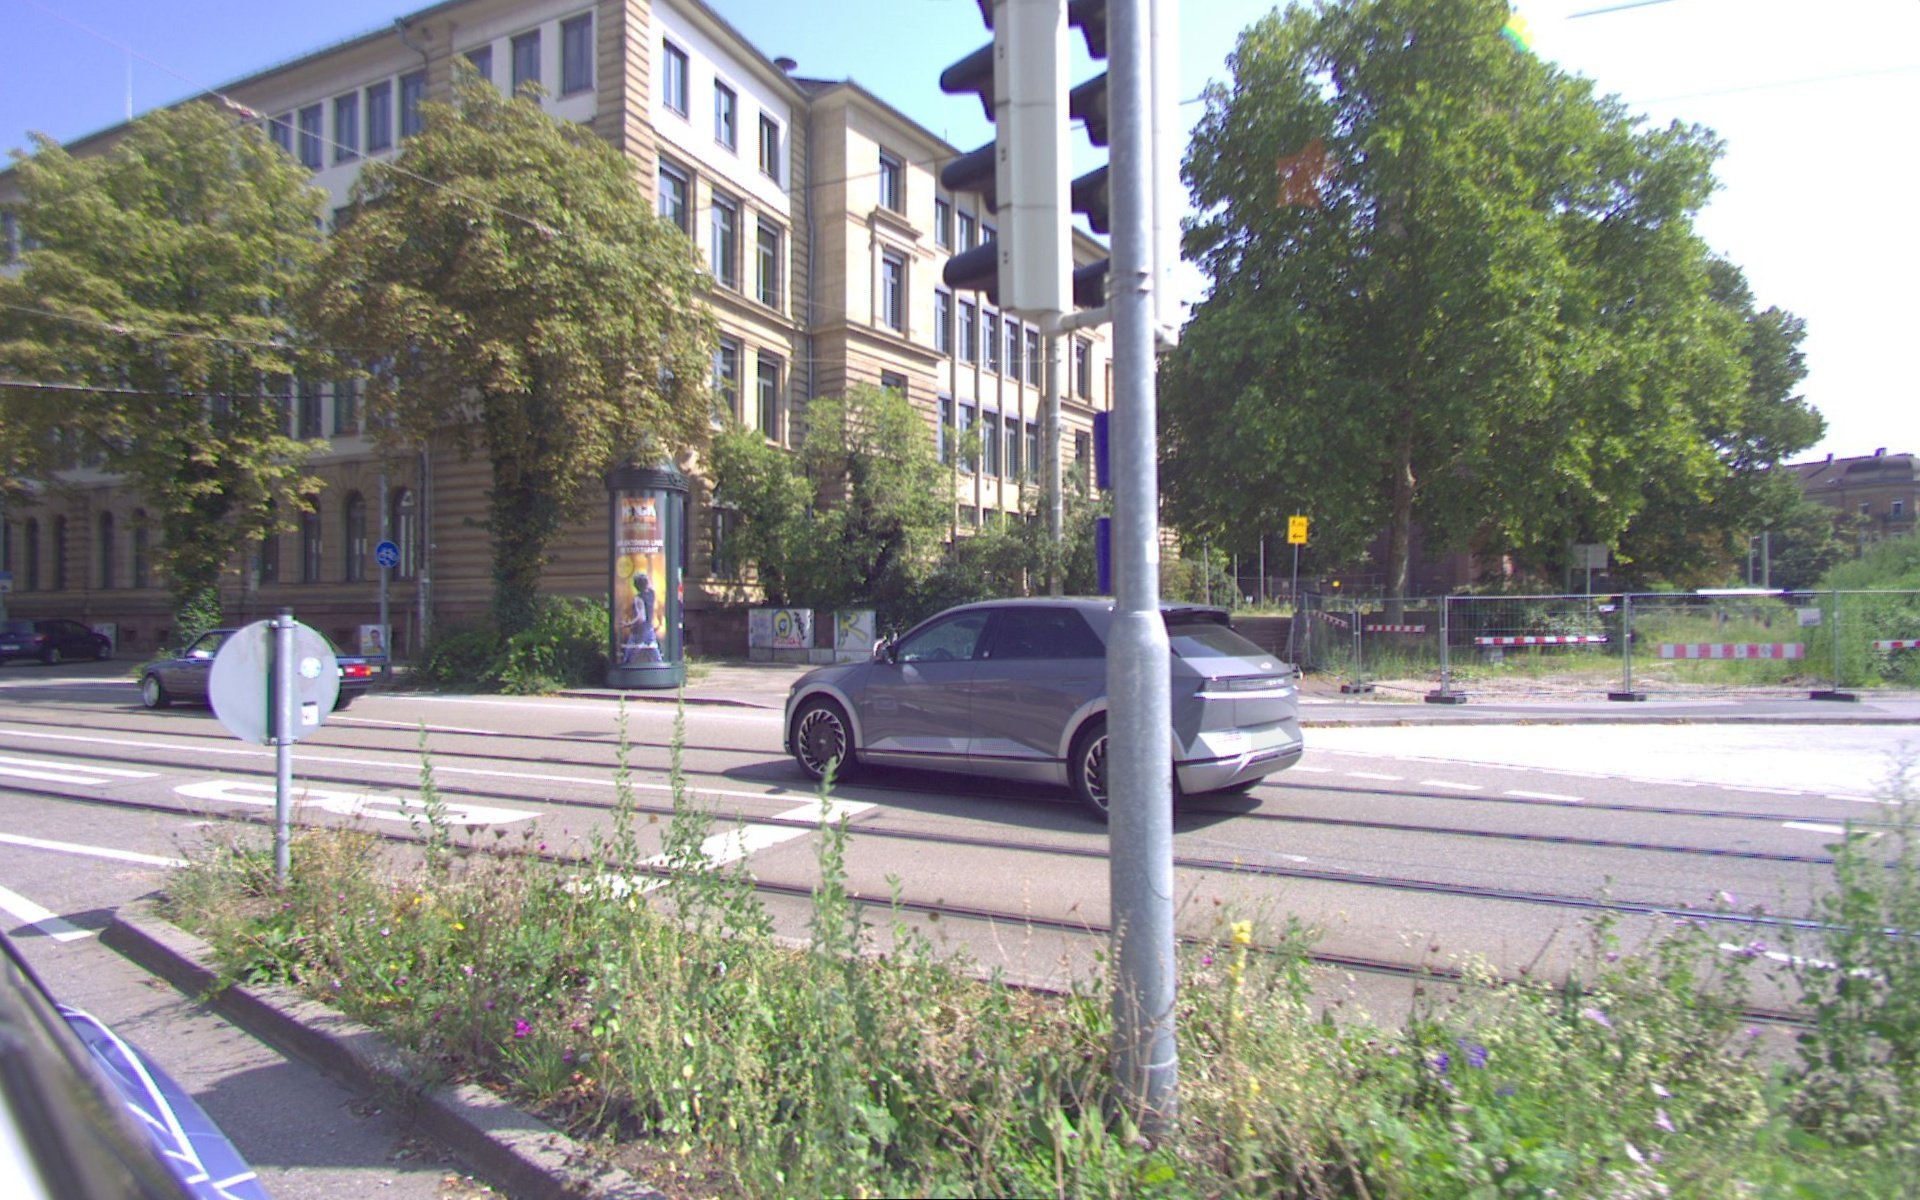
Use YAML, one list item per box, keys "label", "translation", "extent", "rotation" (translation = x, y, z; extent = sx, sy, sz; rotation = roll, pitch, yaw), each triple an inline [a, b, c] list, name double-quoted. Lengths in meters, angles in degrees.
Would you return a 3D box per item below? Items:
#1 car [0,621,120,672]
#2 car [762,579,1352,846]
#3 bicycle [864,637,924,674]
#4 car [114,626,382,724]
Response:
- label: "car"
  translation: [-29.065, 1.444, 32.281]
  extent: [1.791, 1.507, 4.174]
  rotation: [-1, -1, -13]
- label: "car"
  translation: [0.554, 0.739, 8.337]
  extent: [4.669, 1.623, 1.754]
  rotation: [-2, -2, 40]
- label: "bicycle"
  translation: [-1.681, 1.415, 26.248]
  extent: [0.744, 0.901, 2.165]
  rotation: [-1, -1, 20]
- label: "car"
  translation: [-11.618, 1.139, 16.452]
  extent: [4.596, 1.388, 1.677]
  rotation: [-1, -1, 28]
